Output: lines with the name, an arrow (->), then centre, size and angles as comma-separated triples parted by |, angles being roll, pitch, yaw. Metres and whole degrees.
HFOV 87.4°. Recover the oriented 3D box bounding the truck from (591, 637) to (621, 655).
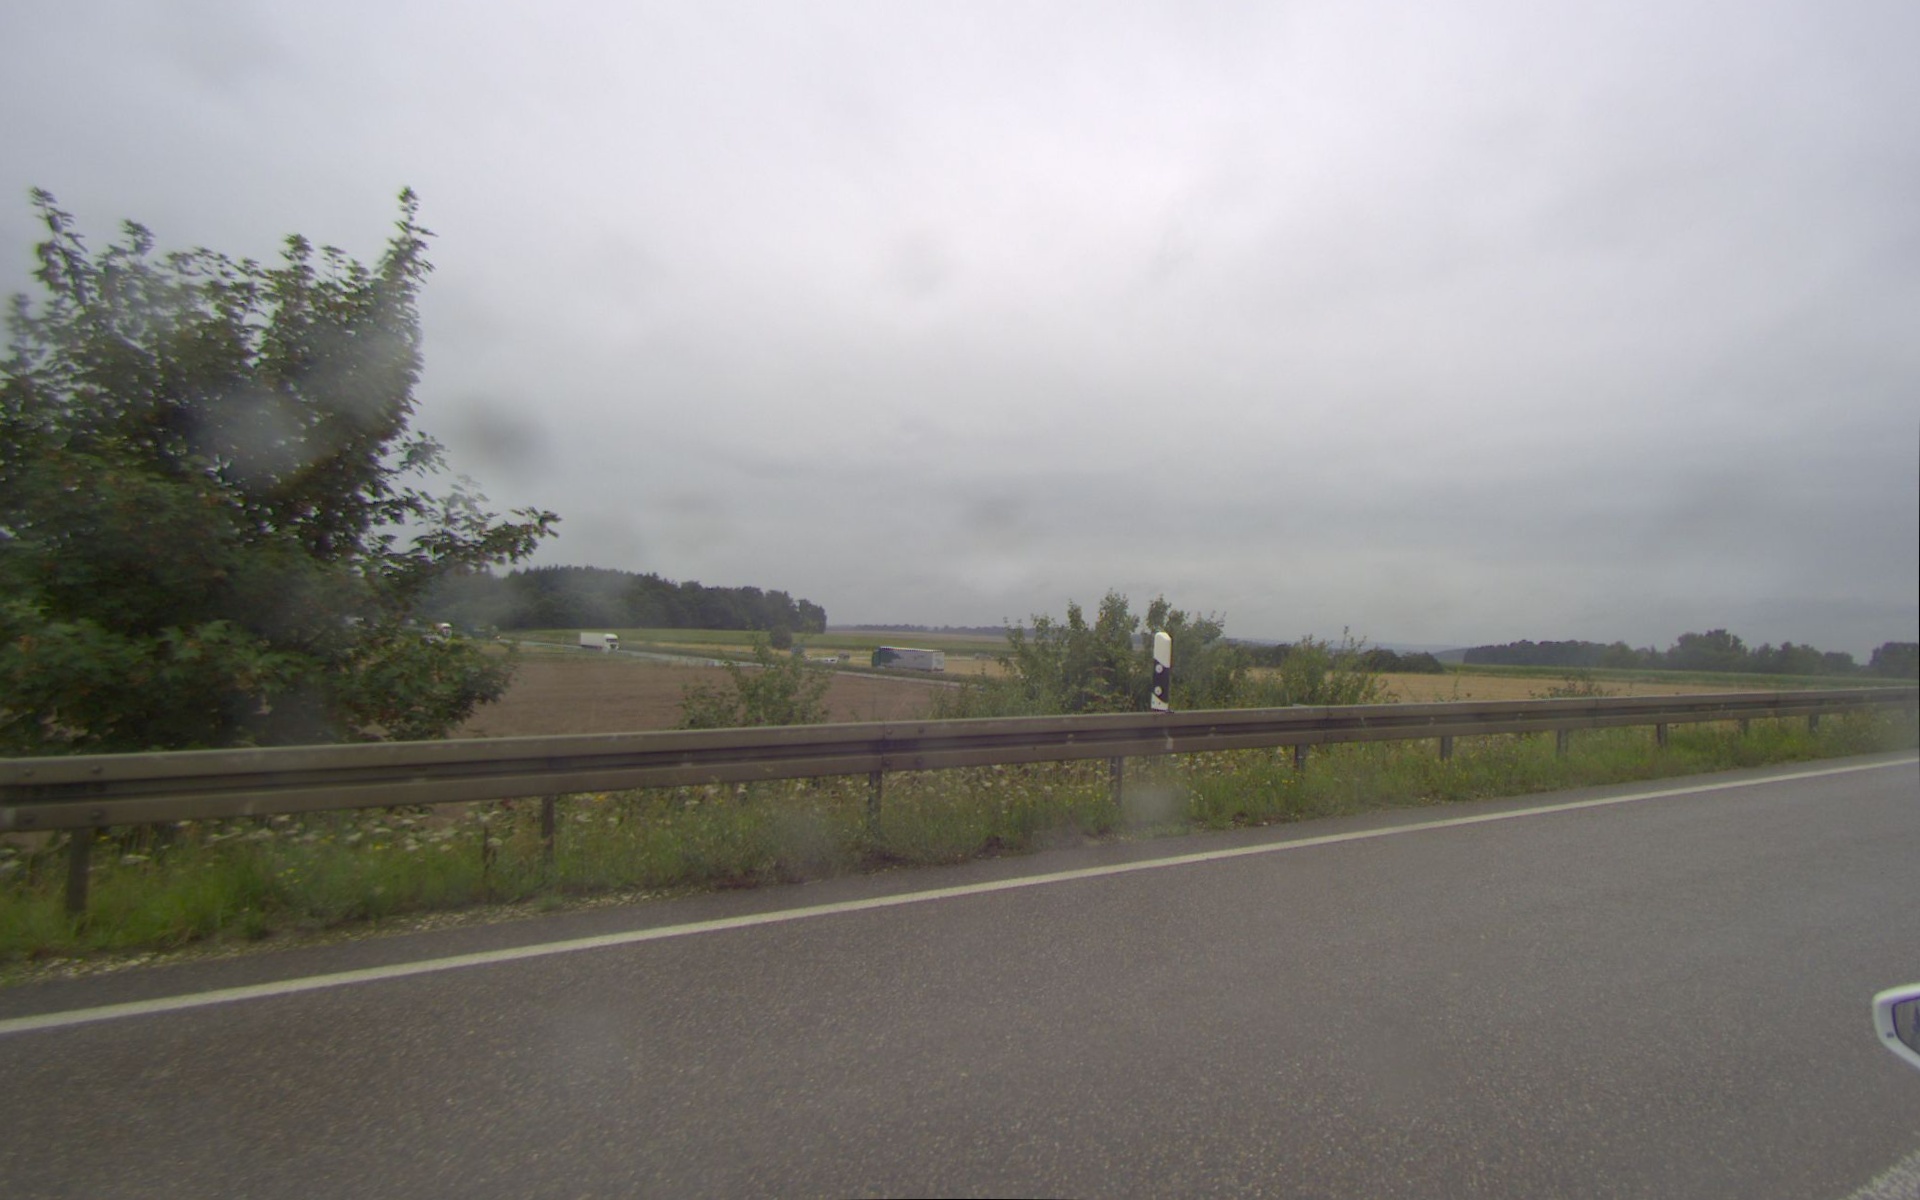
truck -> -82.699, 10.704, 234.507 | 2.764, 3.920, 10.519 | 4, -2, -40
